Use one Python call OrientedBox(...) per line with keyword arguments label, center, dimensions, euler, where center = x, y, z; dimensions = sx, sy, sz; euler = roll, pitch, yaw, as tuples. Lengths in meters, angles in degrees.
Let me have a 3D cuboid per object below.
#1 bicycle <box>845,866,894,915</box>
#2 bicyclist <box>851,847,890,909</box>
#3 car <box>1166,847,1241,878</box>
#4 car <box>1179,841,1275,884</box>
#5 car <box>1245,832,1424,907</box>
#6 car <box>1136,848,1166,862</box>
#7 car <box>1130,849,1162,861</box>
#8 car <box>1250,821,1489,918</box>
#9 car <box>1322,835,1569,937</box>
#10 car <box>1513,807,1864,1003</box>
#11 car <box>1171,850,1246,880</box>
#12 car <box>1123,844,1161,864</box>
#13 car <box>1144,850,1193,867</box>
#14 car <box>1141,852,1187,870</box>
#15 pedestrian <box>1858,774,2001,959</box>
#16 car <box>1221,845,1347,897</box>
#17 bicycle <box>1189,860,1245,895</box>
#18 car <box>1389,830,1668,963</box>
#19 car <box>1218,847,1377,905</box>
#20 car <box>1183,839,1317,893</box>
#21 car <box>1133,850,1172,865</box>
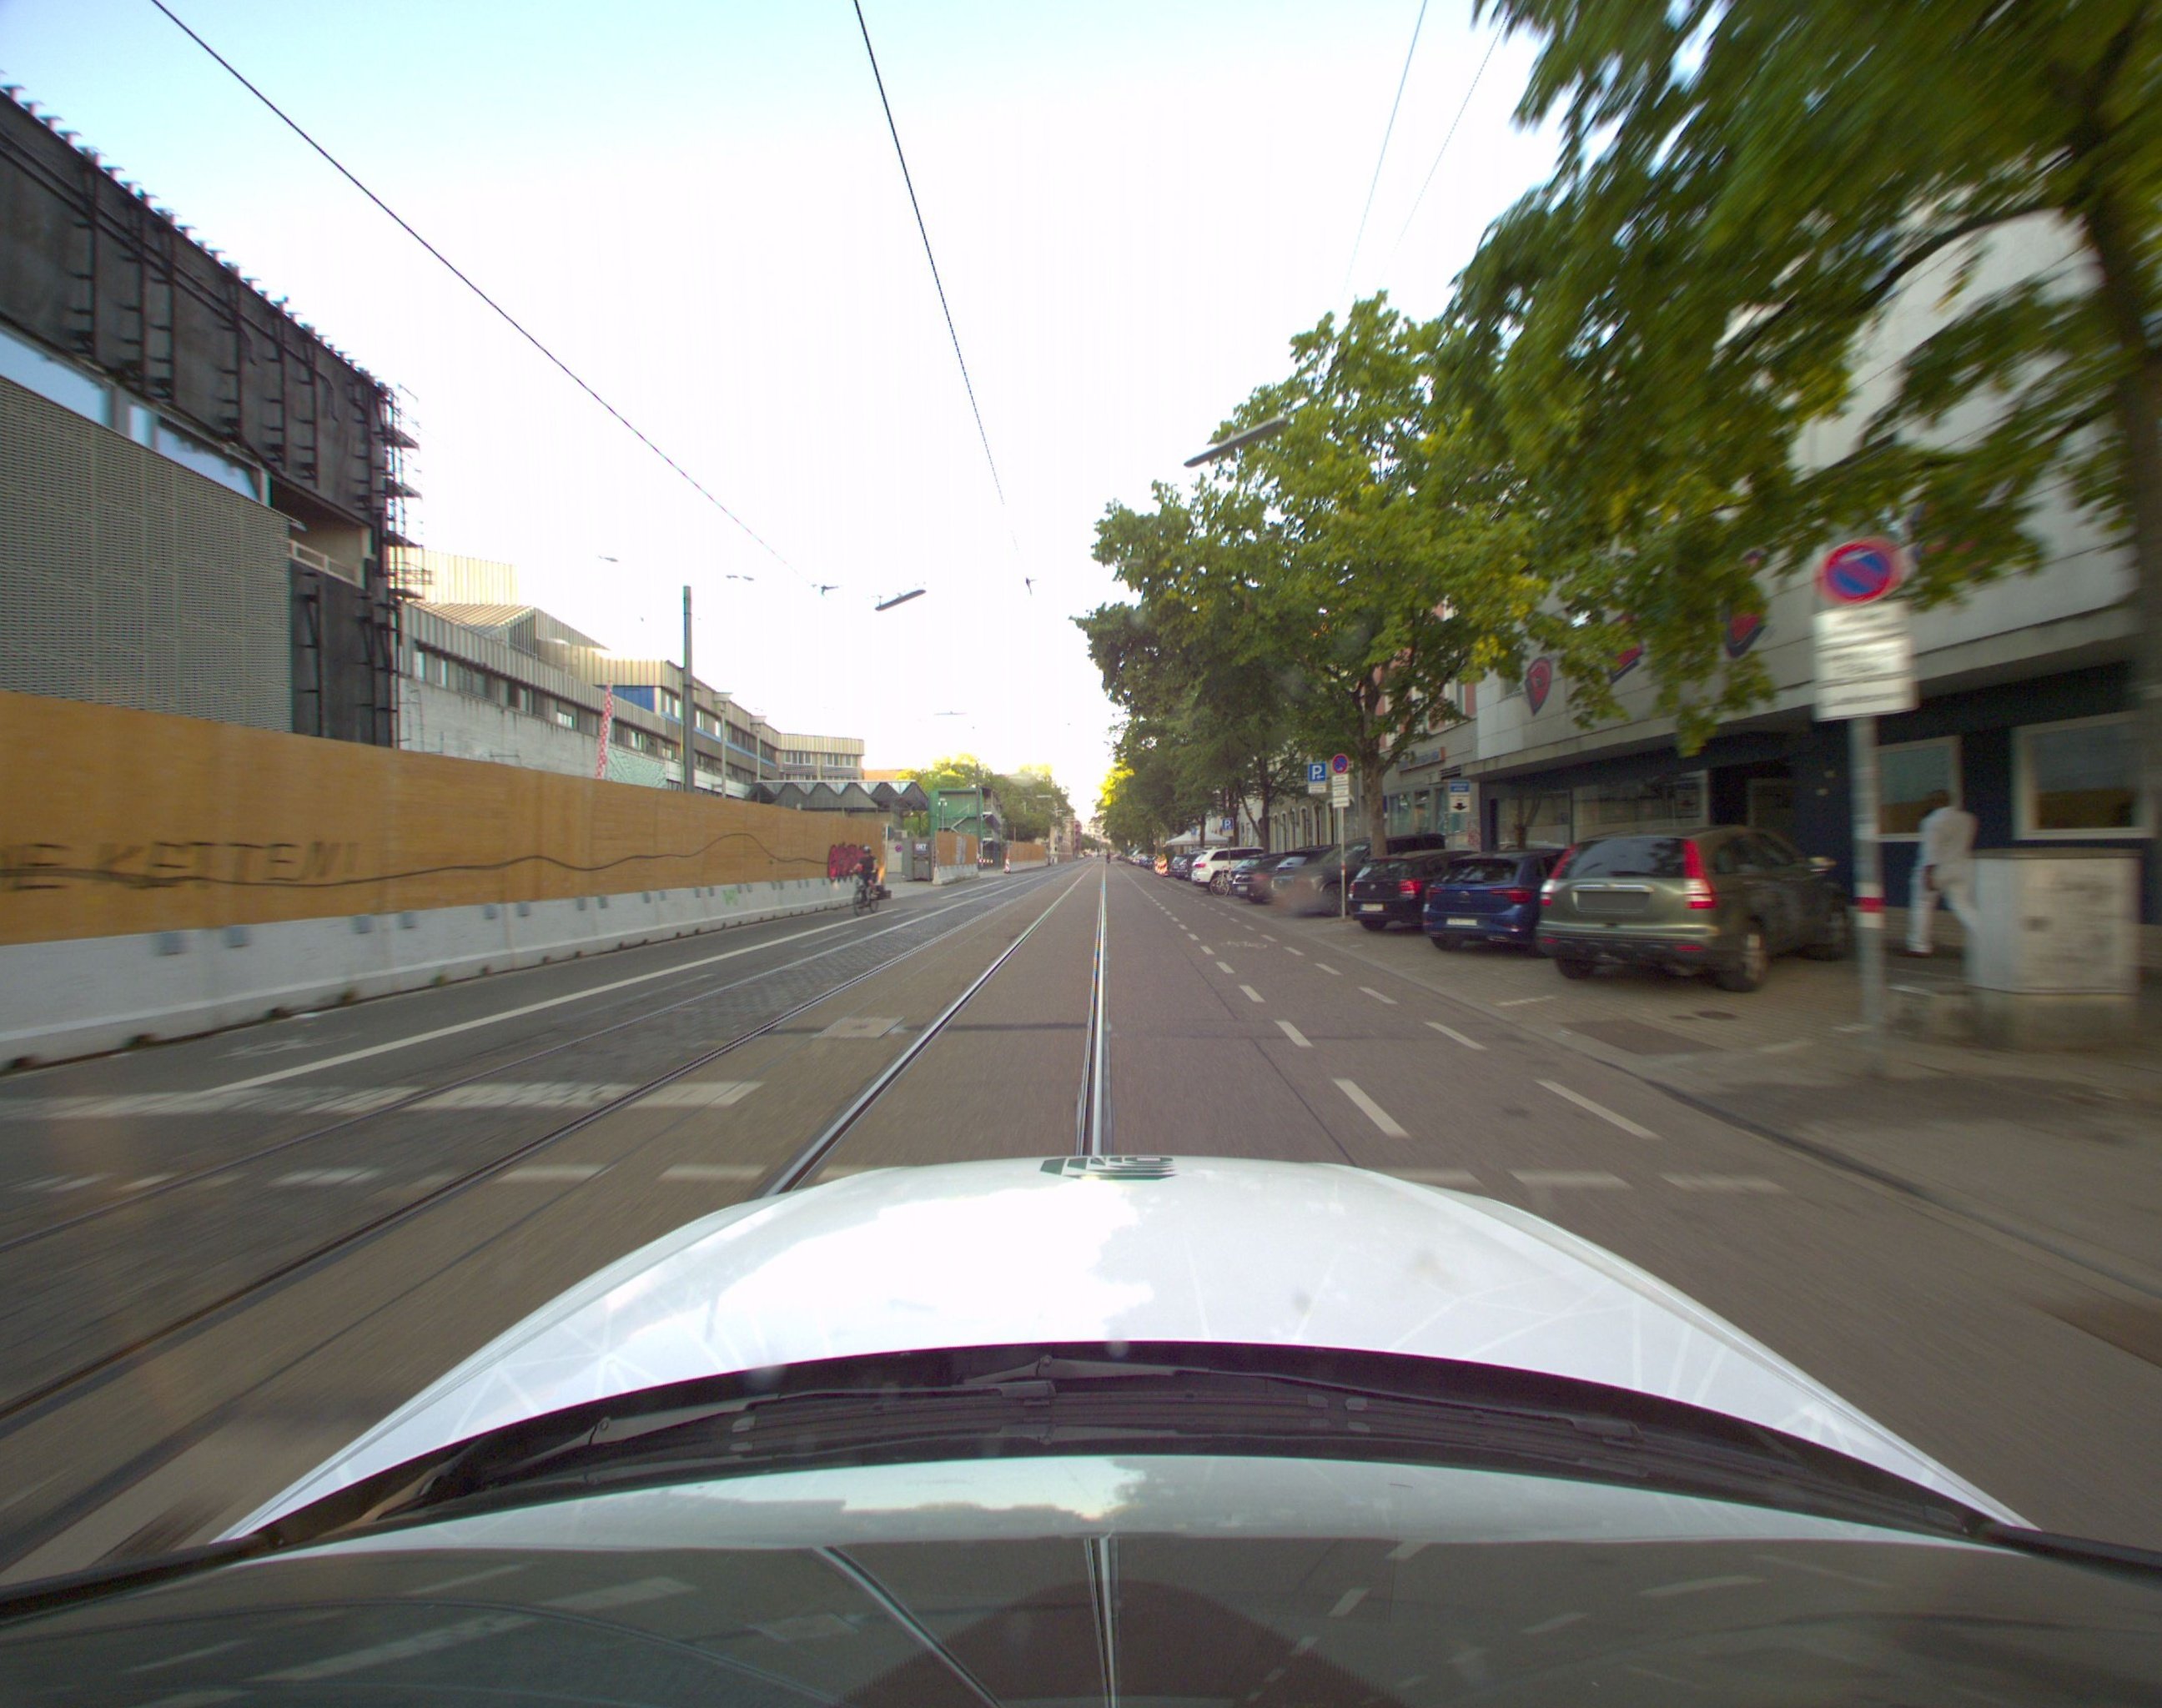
OrientedBox(label="bicycle", center=(-5.778, 0.972, 22.384), dimensions=(0.765, 1.228, 1.937), euler=(-1, 0, 1))
OrientedBox(label="bicyclist", center=(-5.773, 0.646, 22.375), dimensions=(0.765, 1.665, 1.018), euler=(-1, 0, 1))
OrientedBox(label="car", center=(7.179, 0.500, 47.748), dimensions=(3.980, 1.553, 1.692), euler=(-3, 0, -24))
OrientedBox(label="car", center=(7.115, 0.409, 39.699), dimensions=(4.170, 1.806, 1.990), euler=(-3, 0, -27))
OrientedBox(label="car", center=(6.851, 0.383, 22.128), dimensions=(4.222, 1.649, 1.965), euler=(-4, 0, -17))
OrientedBox(label="car", center=(9.599, 0.151, 111.808), dimensions=(3.935, 1.619, 1.922), euler=(-3, -1, 2))
OrientedBox(label="car", center=(9.234, 0.170, 115.657), dimensions=(3.967, 1.486, 1.906), euler=(-2, -1, -23))
OrientedBox(label="car", center=(6.819, 0.328, 19.378), dimensions=(4.976, 1.826, 2.195), euler=(-4, 0, -17))
OrientedBox(label="car", center=(6.816, 0.530, 15.217), dimensions=(4.177, 1.465, 1.954), euler=(-4, 0, -27))
OrientedBox(label="car", center=(7.029, 0.426, 9.308), dimensions=(4.184, 1.664, 1.823), euler=(-4, 0, -33))
OrientedBox(label="car", center=(7.064, 0.603, 45.143), dimensions=(3.790, 1.408, 1.692), euler=(-3, 0, -24))
OrientedBox(label="car", center=(9.022, -0.051, 120.391), dimensions=(5.105, 2.642, 2.011), euler=(-3, -1, -16))
OrientedBox(label="car", center=(8.198, 0.426, 76.046), dimensions=(4.172, 1.426, 1.812), euler=(-1, 0, -18))
OrientedBox(label="car", center=(8.272, 0.655, 80.950), dimensions=(4.126, 1.470, 1.813), euler=(-4, 0, -17))
OrientedBox(label="pedestrian", center=(9.647, 0.135, 9.295), dimensions=(0.689, 1.985, 0.786), euler=(-4, 0, 1))
OrientedBox(label="car", center=(6.790, 0.555, 27.241), dimensions=(3.764, 1.426, 1.714), euler=(-4, 0, -23))
OrientedBox(label="bicycle", center=(4.849, 0.815, 29.072), dimensions=(1.837, 1.102, 0.496), euler=(-4, 0, -13))
OrientedBox(label="car", center=(6.698, 0.542, 12.125), dimensions=(3.906, 1.502, 1.796), euler=(-4, 0, -29))
OrientedBox(label="car", center=(6.492, 0.629, 24.469), dimensions=(4.228, 1.426, 1.962), euler=(-3, 0, -21))
OrientedBox(label="car", center=(6.361, 0.436, 31.046), dimensions=(4.635, 1.688, 2.007), euler=(-4, 0, -1))
OrientedBox(label="car", center=(8.635, 0.399, 98.388), dimensions=(4.250, 1.549, 2.013), euler=(-2, 0, -9))
